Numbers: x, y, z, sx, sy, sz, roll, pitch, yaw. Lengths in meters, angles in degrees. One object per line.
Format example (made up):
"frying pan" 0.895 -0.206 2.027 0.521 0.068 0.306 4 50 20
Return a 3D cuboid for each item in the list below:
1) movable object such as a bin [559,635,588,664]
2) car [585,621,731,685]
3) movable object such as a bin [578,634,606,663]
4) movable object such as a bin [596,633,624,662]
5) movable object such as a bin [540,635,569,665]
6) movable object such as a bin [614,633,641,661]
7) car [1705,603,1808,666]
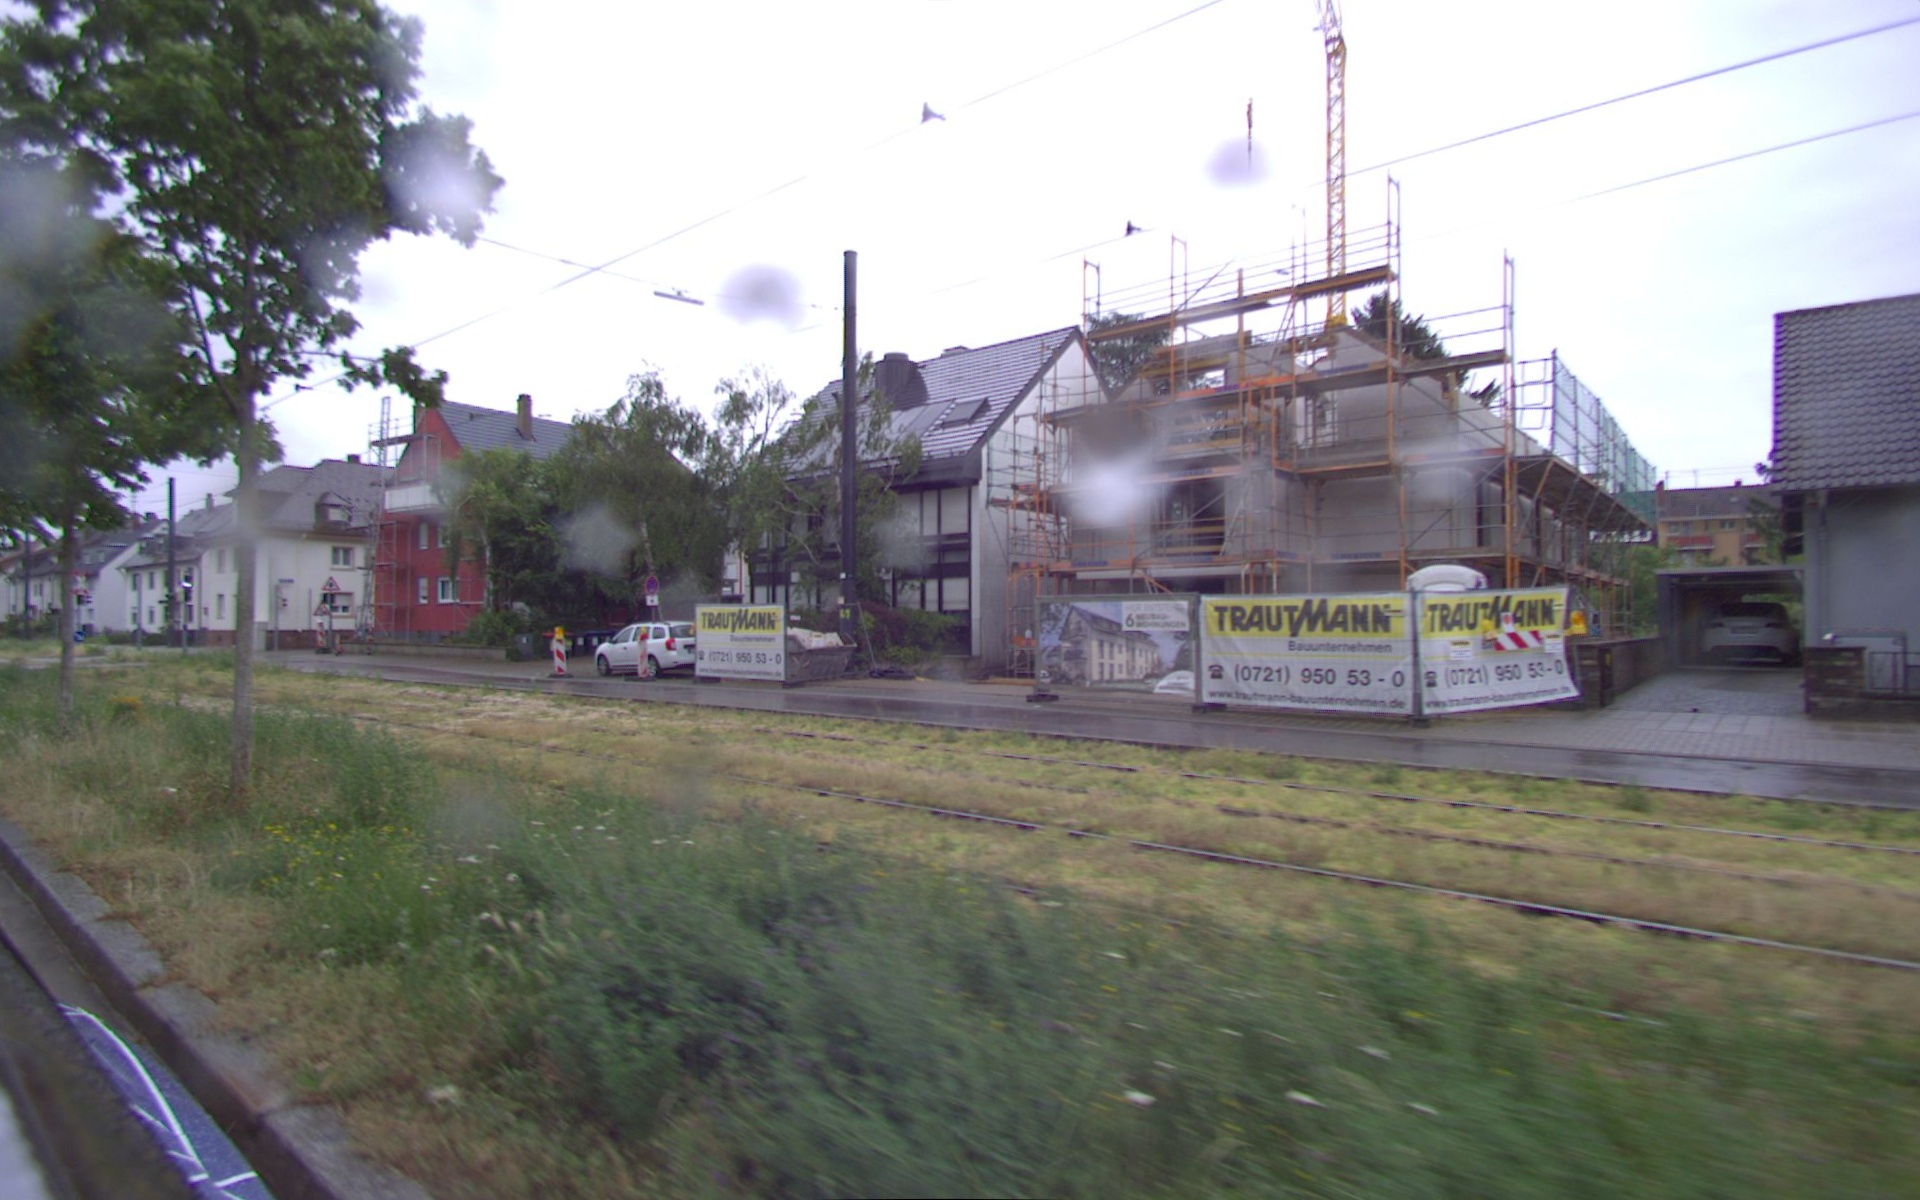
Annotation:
"movable object such as a bin" -15.893 2.018 41.609 0.821 1.156 0.802 -1 0 41
"car" -8.680 1.441 28.963 4.246 1.640 1.974 -1 0 39
"movable object such as a bin" -15.367 2.014 42.242 0.821 1.156 0.802 -1 0 41
"movable object such as a bin" -14.842 2.011 42.892 0.821 1.156 0.802 -1 0 41
"movable object such as a bin" -16.431 2.022 40.998 0.821 1.156 0.802 -1 0 41
"movable object such as a bin" -14.313 2.007 43.534 0.821 1.156 0.802 -1 0 41
"car" 20.830 0.839 26.408 1.795 1.497 3.944 -1 0 43
